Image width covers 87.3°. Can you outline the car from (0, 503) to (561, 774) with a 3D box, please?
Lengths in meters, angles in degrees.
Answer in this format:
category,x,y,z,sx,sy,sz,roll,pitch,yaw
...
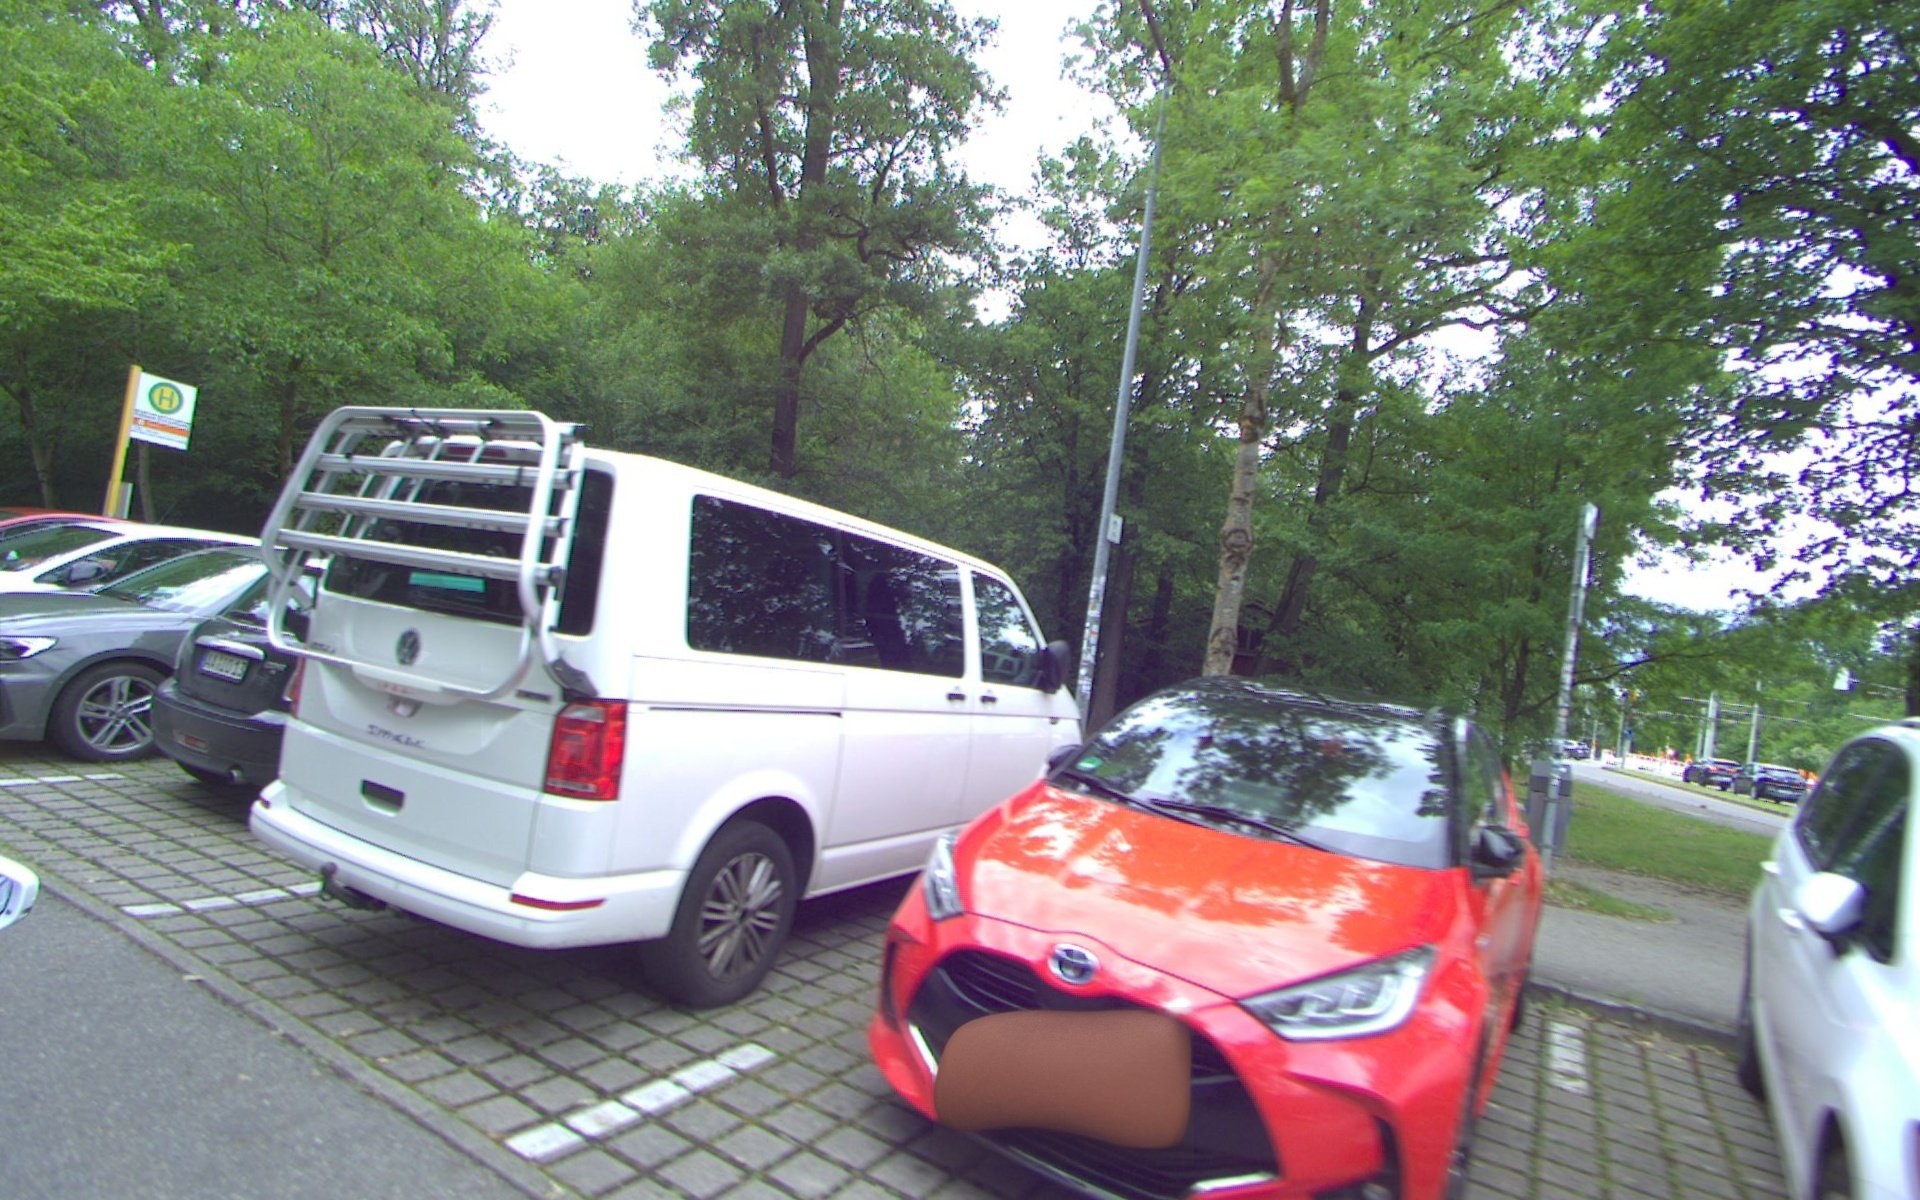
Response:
category,x,y,z,sx,sy,sz,roll,pitch,yaw
car,-5.360,0.361,7.614,1.844,1.499,4.002,6,-4,27

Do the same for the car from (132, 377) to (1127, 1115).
category,x,y,z,sx,sy,sz,roll,pitch,yaw
car,-0.990,0.590,5.363,2.047,2.042,4.665,9,-3,29

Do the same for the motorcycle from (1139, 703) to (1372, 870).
category,x,y,z,sx,sy,sz,roll,pitch,yaw
motorcycle,2.864,1.760,9.784,1.975,1.174,0.677,8,-1,23

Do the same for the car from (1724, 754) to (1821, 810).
category,x,y,z,sx,sy,sz,roll,pitch,yaw
car,33.881,7.550,42.070,1.964,1.735,4.004,10,-2,24

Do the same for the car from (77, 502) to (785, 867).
category,x,y,z,sx,sy,sz,roll,pitch,yaw
car,-3.166,0.587,6.854,1.814,1.571,3.737,10,-2,27

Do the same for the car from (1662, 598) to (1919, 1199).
category,x,y,z,sx,sy,sz,roll,pitch,yaw
car,3.380,1.179,2.757,2.131,1.712,4.526,6,-2,34

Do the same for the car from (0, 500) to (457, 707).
category,x,y,z,sx,sy,sz,roll,pitch,yaw
car,-7.287,0.051,8.896,1.821,1.493,4.785,8,-2,28

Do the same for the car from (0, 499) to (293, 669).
category,x,y,z,sx,sy,sz,roll,pitch,yaw
car,-9.588,-0.236,10.192,1.885,1.497,4.243,7,-2,25

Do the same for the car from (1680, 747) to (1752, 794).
category,x,y,z,sx,sy,sz,roll,pitch,yaw
car,36.732,8.234,48.958,1.769,1.757,3.706,10,-2,24

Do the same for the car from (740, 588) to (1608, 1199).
category,x,y,z,sx,sy,sz,roll,pitch,yaw
car,1.349,1.105,4.127,1.916,1.572,4.004,8,-3,35

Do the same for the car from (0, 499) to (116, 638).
category,x,y,z,sx,sy,sz,roll,pitch,yaw
car,-12.046,-0.557,10.847,1.888,1.500,3.999,7,-2,25
